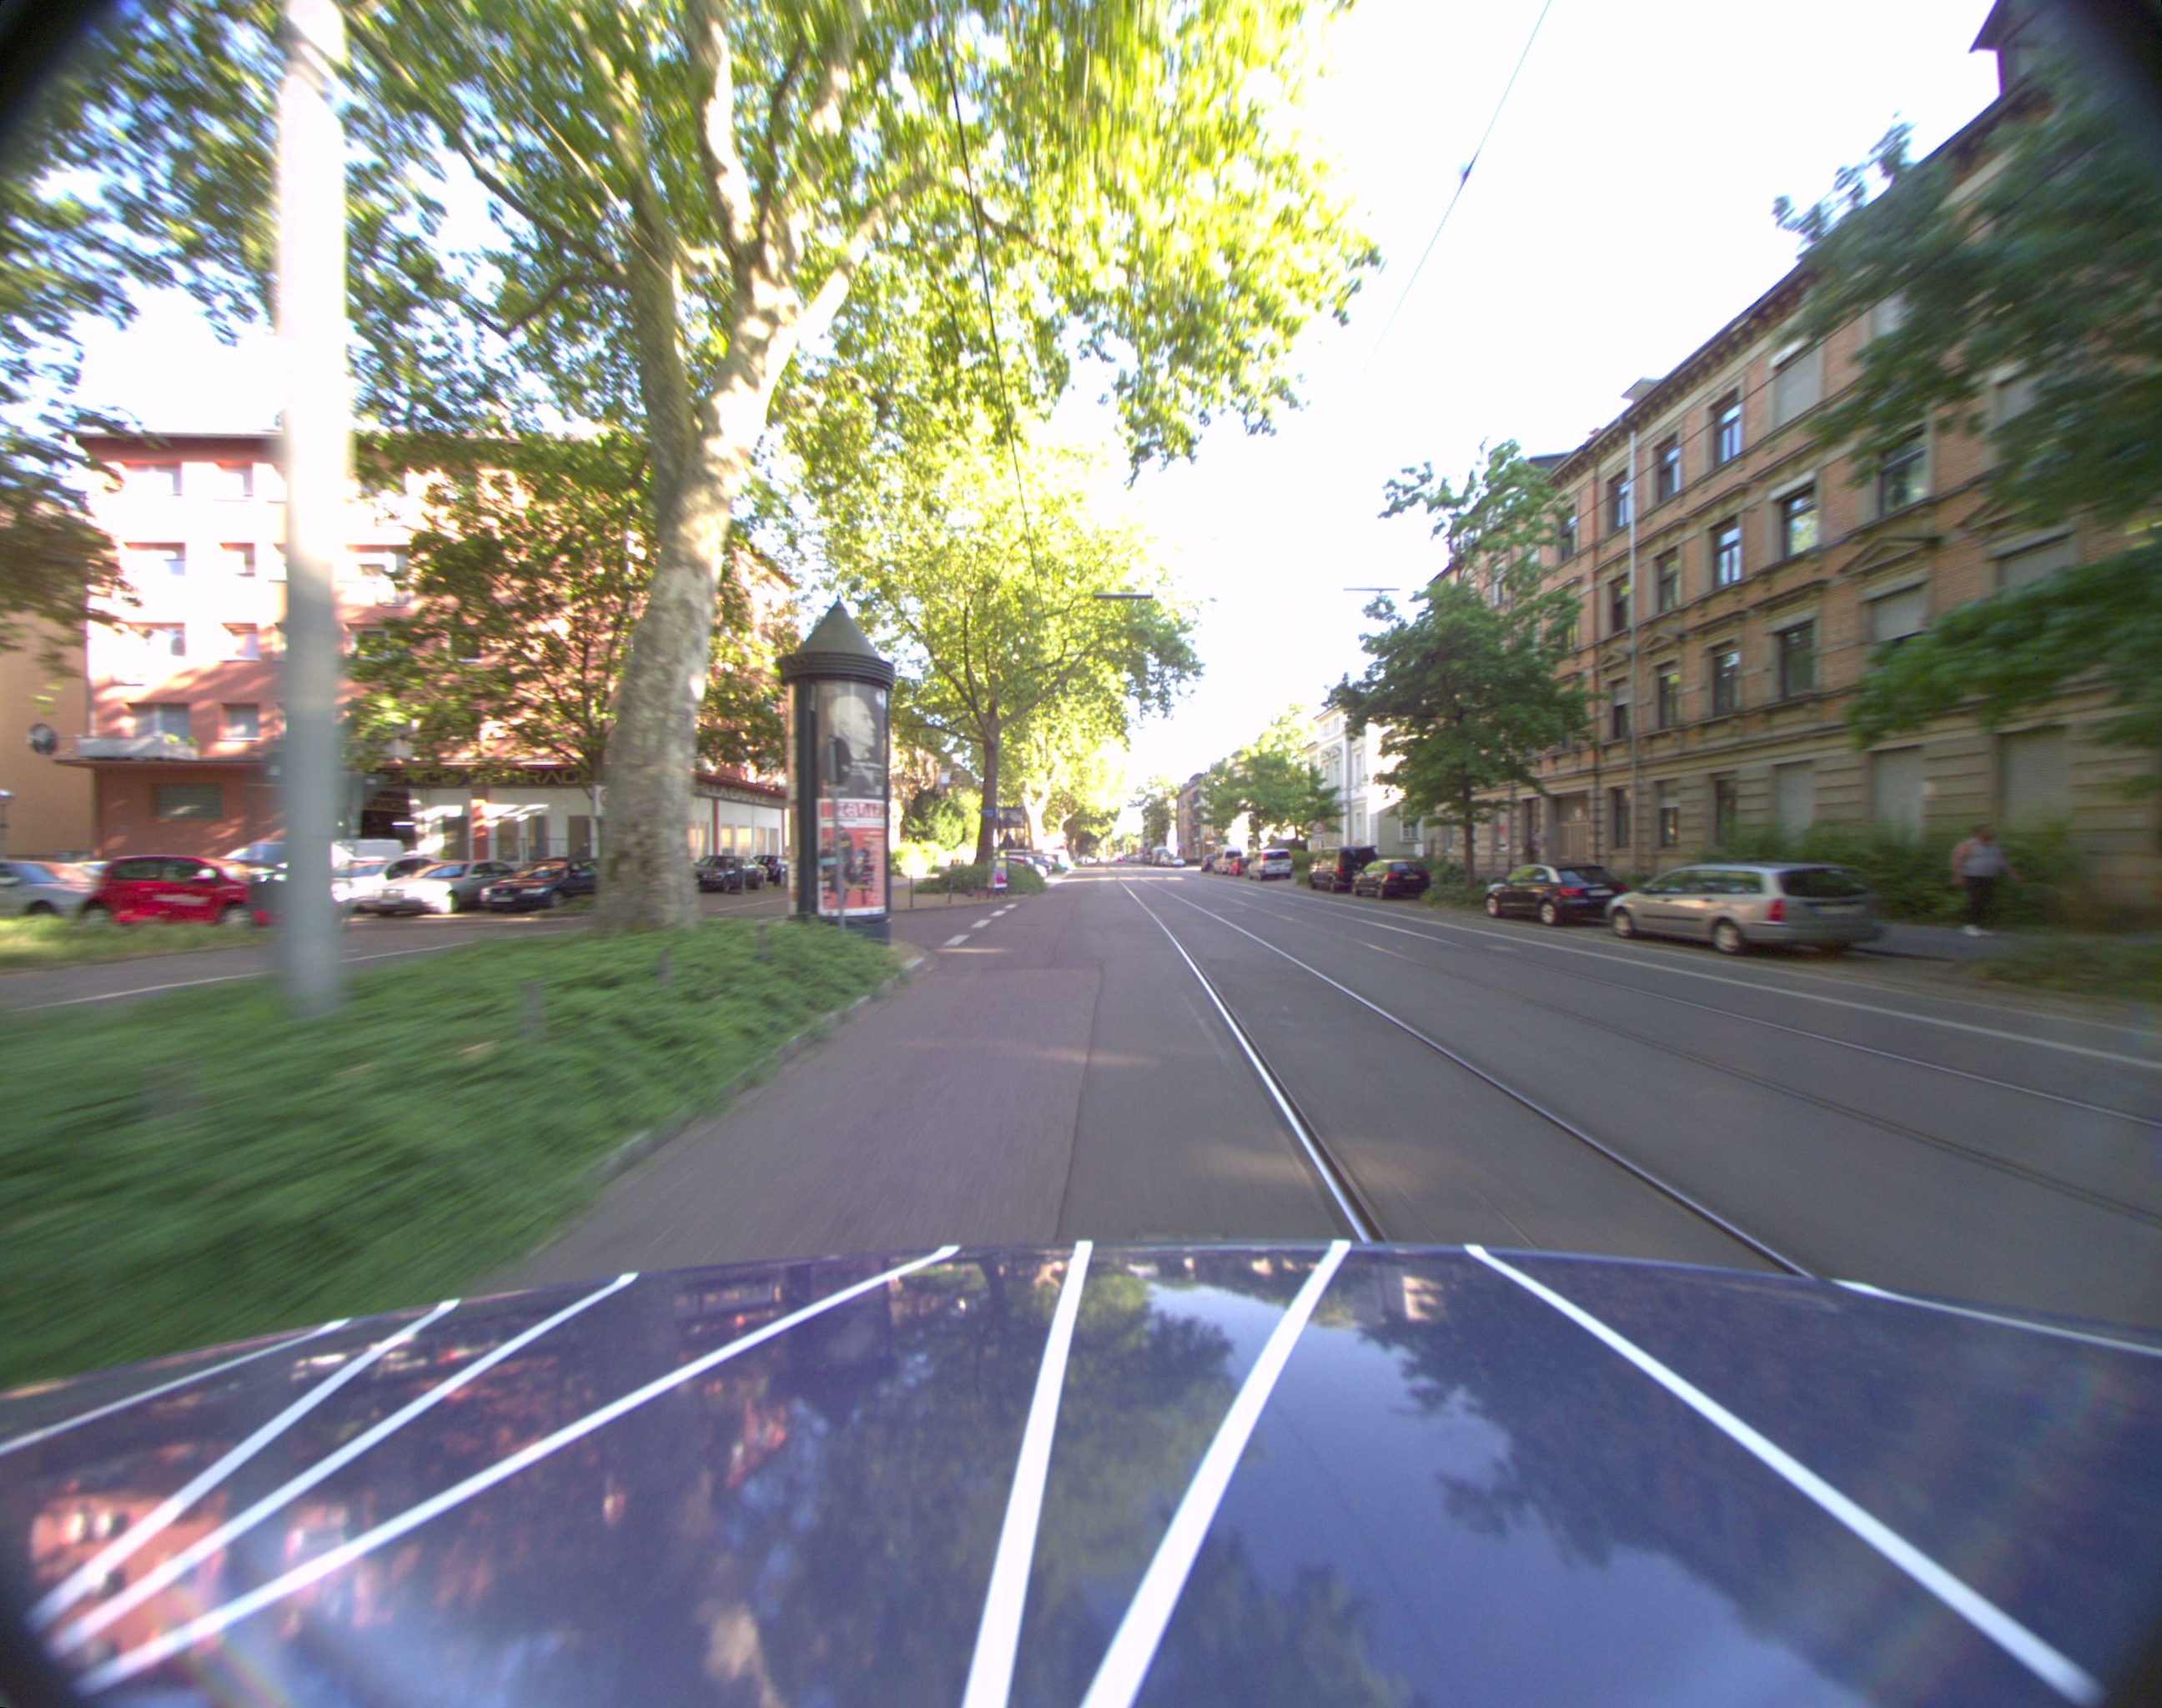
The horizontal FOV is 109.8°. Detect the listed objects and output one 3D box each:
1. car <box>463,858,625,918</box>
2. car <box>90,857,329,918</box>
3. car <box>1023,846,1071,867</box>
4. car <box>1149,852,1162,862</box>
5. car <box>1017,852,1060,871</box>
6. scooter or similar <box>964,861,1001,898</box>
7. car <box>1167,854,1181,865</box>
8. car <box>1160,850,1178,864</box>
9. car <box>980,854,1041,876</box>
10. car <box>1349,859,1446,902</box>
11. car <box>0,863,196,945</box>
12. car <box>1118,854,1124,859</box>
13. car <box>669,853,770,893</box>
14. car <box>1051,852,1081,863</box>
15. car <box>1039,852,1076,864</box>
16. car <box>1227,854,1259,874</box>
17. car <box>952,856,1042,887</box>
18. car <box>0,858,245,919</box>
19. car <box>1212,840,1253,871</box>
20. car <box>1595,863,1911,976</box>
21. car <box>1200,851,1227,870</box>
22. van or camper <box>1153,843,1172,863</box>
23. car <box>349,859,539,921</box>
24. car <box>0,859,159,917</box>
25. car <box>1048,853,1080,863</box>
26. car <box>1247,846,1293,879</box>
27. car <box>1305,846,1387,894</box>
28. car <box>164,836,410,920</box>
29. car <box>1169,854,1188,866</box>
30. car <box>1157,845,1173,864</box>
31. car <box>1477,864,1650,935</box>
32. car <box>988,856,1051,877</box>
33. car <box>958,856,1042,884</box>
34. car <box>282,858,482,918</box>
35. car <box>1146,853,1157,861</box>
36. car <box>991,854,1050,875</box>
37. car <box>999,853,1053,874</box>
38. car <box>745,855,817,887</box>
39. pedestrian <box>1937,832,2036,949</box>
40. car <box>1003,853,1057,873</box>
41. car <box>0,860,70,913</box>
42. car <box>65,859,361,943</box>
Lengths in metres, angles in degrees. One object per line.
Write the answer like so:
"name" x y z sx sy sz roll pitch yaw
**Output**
"car" -15.599 0.927 22.439 1.794 1.565 4.576 0 0 -4
"car" -24.985 0.887 22.101 1.794 1.565 4.576 0 0 -3
"car" -3.486 0.256 78.095 4.859 2.002 2.194 1 0 -2
"car" 13.202 0.536 134.878 1.791 1.743 4.435 -1 0 0
"car" -3.829 0.699 69.401 3.792 1.609 1.790 1 0 -1
"scooter or similar" -3.386 0.867 26.202 1.211 1.233 0.569 0 1 -1
"car" 12.790 0.713 104.362 1.574 1.484 2.883 -1 0 2
"car" 12.740 0.425 110.170 1.927 2.034 4.941 -1 0 0
"car" -5.119 0.809 55.484 4.209 1.546 1.818 0 0 3
"car" 11.701 0.923 28.430 1.857 1.450 4.270 0 0 0
"car" -19.902 0.912 14.534 3.927 1.444 1.683 0 0 -1
"car" 13.068 0.845 248.277 1.769 1.448 3.586 0 0 1
"car" -14.107 0.690 29.967 1.753 1.426 4.468 0 0 2
"car" -2.358 0.557 121.703 4.610 1.631 1.894 1 0 4
"car" -3.075 0.529 101.638 4.810 1.621 1.893 1 0 1
"car" 12.355 0.737 57.980 1.689 1.530 3.707 0 0 1
"car" -4.376 0.898 39.877 4.411 1.534 1.819 0 0 8
"car" -27.774 0.912 22.191 1.794 1.565 4.576 0 0 -3
"car" 12.501 0.122 62.959 2.310 2.493 5.343 0 0 0
"car" 11.148 0.969 13.153 1.703 1.541 4.537 -1 0 4
"car" 12.573 0.605 72.323 1.997 1.680 4.262 0 0 4
"van or camper" 13.134 -0.155 122.943 2.423 2.960 5.991 -4 0 2
"car" -17.831 0.931 21.621 1.794 1.565 4.576 0 0 -4
"car" -30.725 0.938 22.333 1.794 1.565 4.576 0 0 -3
"car" -2.554 0.671 115.090 4.610 1.485 1.894 1 0 4
"car" 11.866 0.495 48.100 1.848 1.977 4.988 0 0 2
"car" 11.708 0.651 33.956 1.998 2.002 4.834 0 0 0
"car" -22.657 0.620 22.092 1.917 2.171 5.083 0 0 -2
"car" 12.766 0.757 99.656 1.776 1.484 4.940 -1 0 -2
"car" 12.824 0.022 116.107 1.927 2.730 4.546 -4 0 2
"car" 11.293 0.990 18.138 1.662 1.437 3.949 -1 0 1
"car" -4.270 0.868 52.945 4.210 1.439 1.817 0 0 1
"car" -4.491 0.885 42.468 4.413 1.534 1.952 0 0 3
"car" -20.263 0.909 22.361 1.794 1.565 4.576 0 0 -3
"car" 13.405 0.552 144.920 1.791 1.462 4.435 -1 0 0
"car" -4.558 0.753 57.766 4.209 1.565 1.818 0 0 3
"car" -4.297 0.742 60.075 4.211 1.609 1.878 0 0 -2
"car" -14.093 0.758 35.889 1.753 1.426 3.950 0 0 2
"pedestrian" 14.805 0.577 12.443 0.743 1.836 0.728 -2 1 0
"car" -4.211 0.727 62.775 4.209 1.609 1.818 0 0 3
"car" -33.080 0.962 21.935 1.794 1.565 4.576 0 0 -3
"car" -15.990 0.827 14.145 3.547 1.444 1.683 0 0 -1
